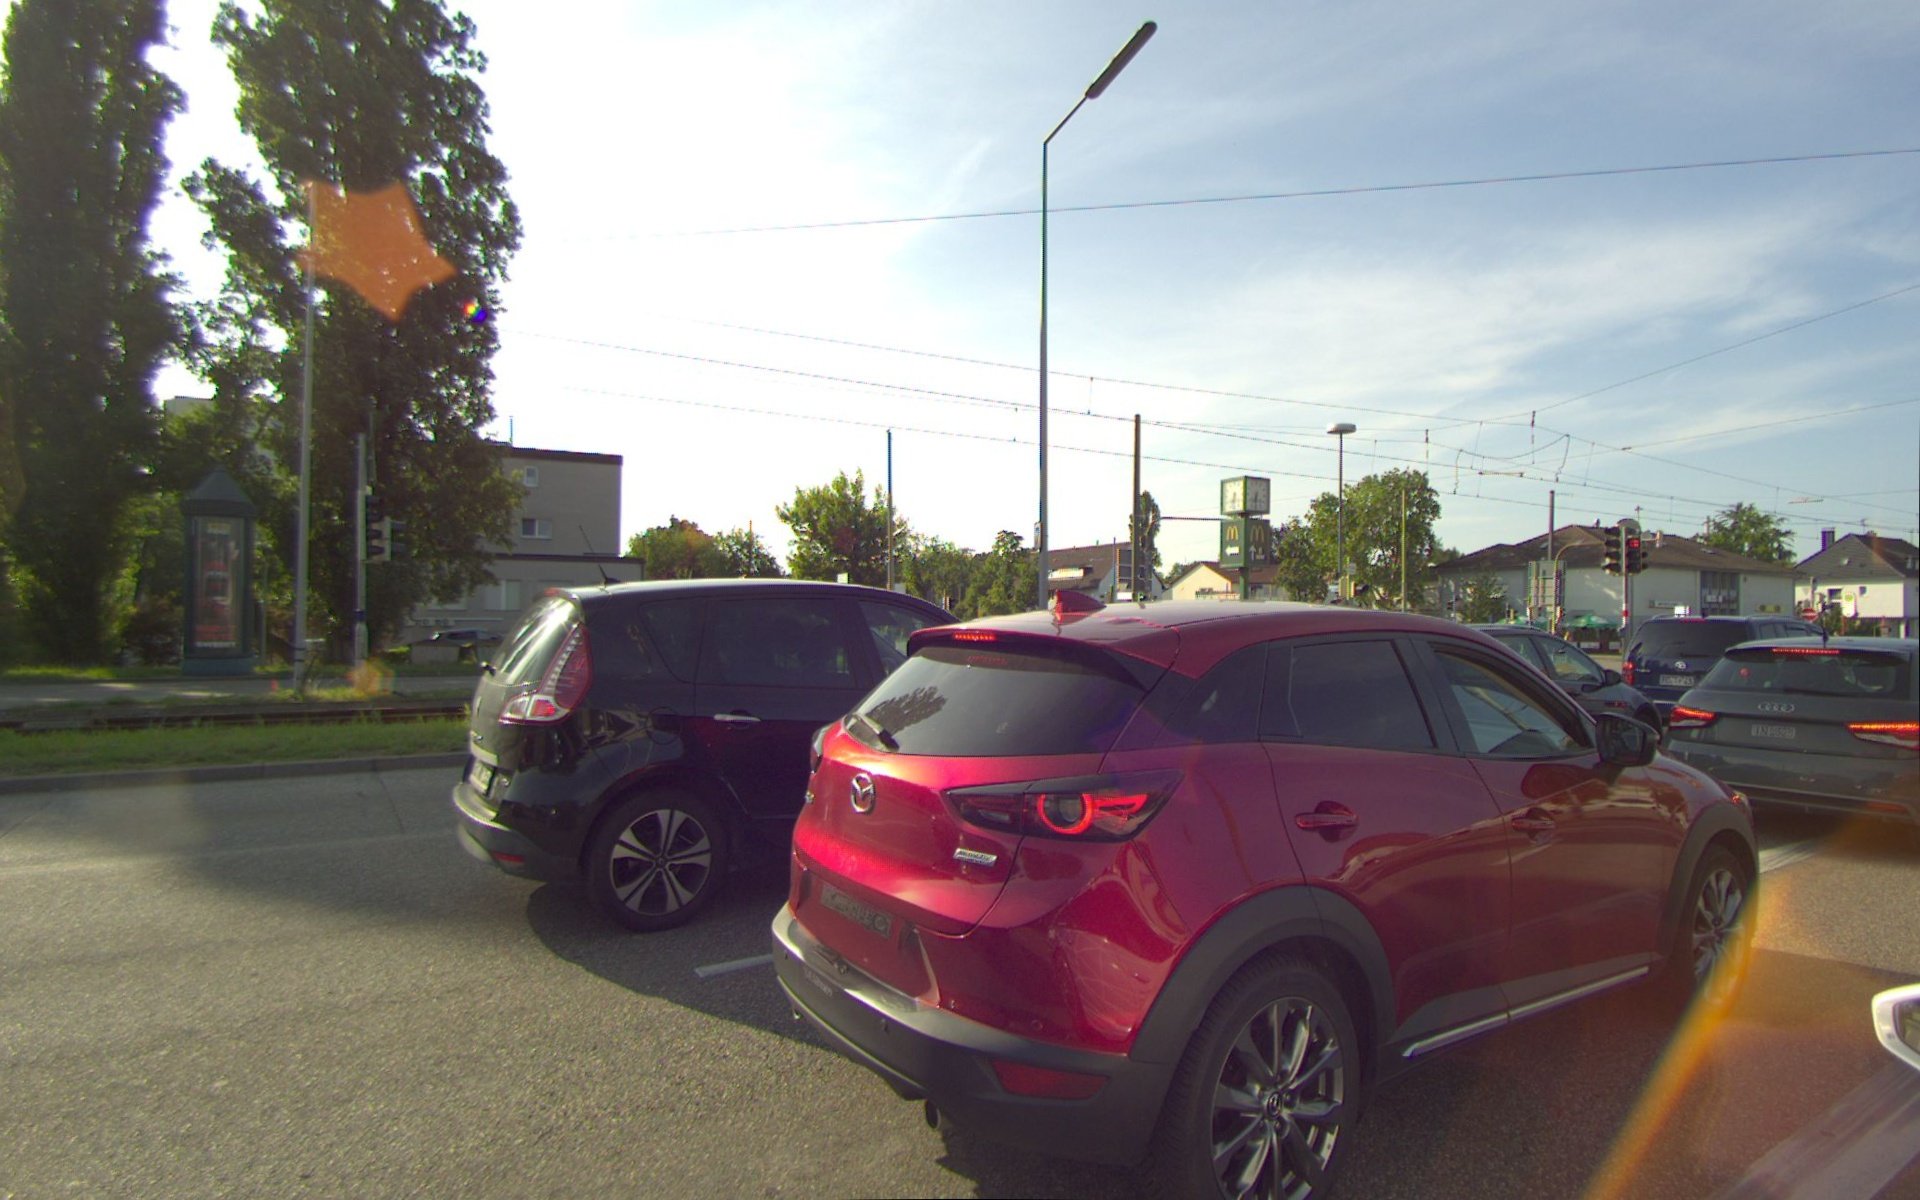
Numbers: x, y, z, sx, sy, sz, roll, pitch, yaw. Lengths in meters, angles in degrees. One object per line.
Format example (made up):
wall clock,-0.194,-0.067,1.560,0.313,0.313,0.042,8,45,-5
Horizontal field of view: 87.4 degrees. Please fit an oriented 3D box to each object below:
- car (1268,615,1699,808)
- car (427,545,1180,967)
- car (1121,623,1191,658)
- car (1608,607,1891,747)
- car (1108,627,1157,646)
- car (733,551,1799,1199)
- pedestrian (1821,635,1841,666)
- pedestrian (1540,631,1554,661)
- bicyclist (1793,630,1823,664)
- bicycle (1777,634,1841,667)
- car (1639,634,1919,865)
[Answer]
car,5.258,0.951,9.909,4.501,1.528,1.691,1,-1,-31
car,-0.757,0.676,5.927,4.043,1.693,1.752,1,-1,-35
car,10.574,2.185,54.470,1.501,1.816,3.969,1,-2,-29
car,10.974,0.993,13.869,4.689,1.673,1.499,1,-2,-31
car,16.452,3.470,95.779,4.163,1.706,1.987,2,-1,-25
car,1.350,0.757,3.713,3.937,1.572,1.696,2,-2,-34
pedestrian,40.944,2.367,47.204,0.542,1.450,0.574,2,0,-35
pedestrian,32.741,2.561,56.002,0.535,1.620,0.508,1,-1,-37
bicyclist,38.510,2.130,45.610,1.128,1.450,0.876,2,-1,-41
bicycle,38.526,2.287,45.584,1.100,1.365,2.056,2,-1,-40
car,7.141,0.987,7.869,3.784,1.415,1.633,1,-2,-32
